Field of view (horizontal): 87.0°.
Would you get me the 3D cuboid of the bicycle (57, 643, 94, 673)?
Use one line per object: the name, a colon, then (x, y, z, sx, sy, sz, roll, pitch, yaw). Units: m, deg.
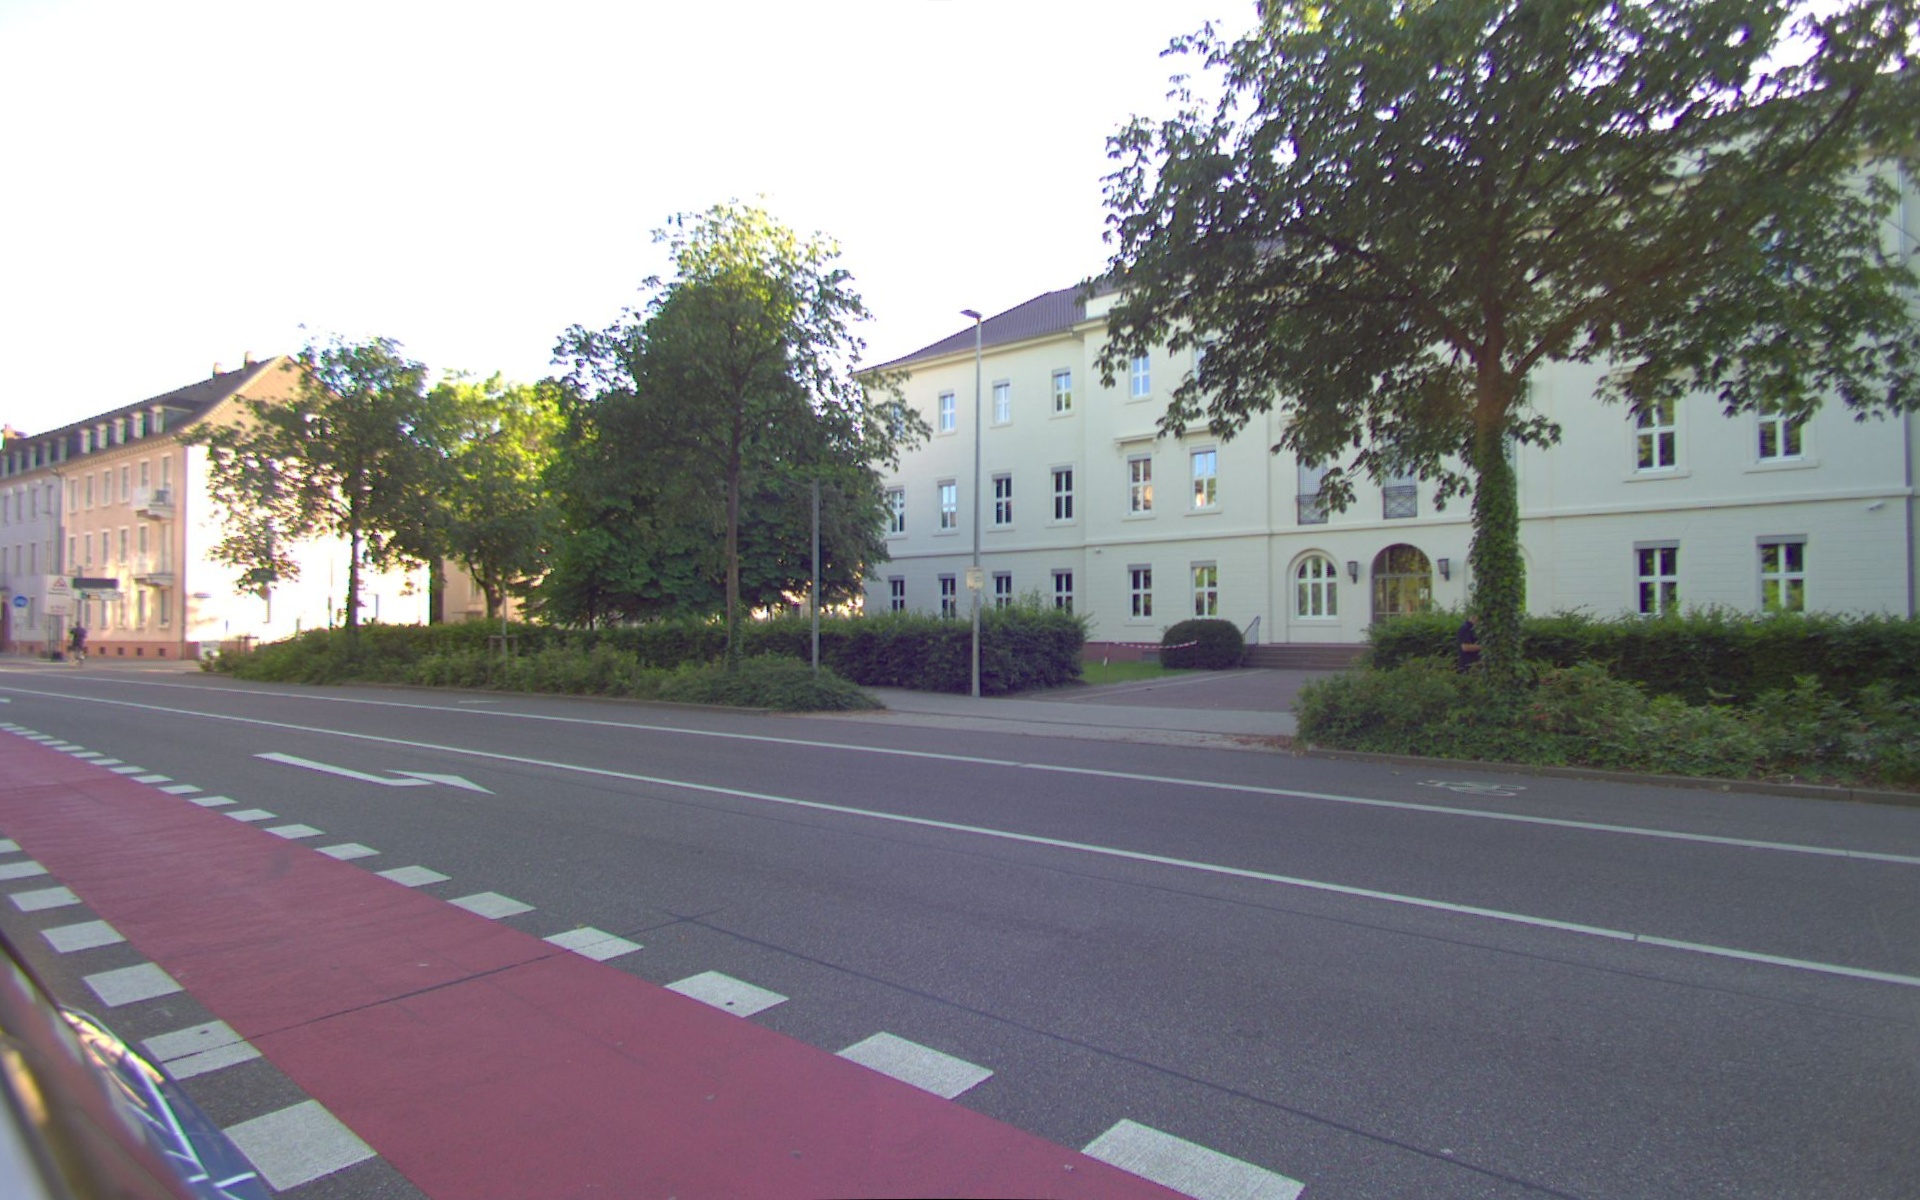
bicycle: (-36.376, 2.371, 41.593, 2.242, 1.168, 0.688, -2, -4, 38)

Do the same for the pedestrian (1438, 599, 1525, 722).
pedestrian: (7.720, 0.882, 14.987, 0.967, 1.733, 0.826, -2, -3, 40)

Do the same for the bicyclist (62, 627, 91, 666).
bicyclist: (-36.284, 1.897, 41.549, 0.837, 1.574, 0.683, -2, -4, 37)

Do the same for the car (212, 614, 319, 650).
car: (-34.681, 1.551, 50.609, 1.993, 1.674, 3.958, -1, -1, 31)
